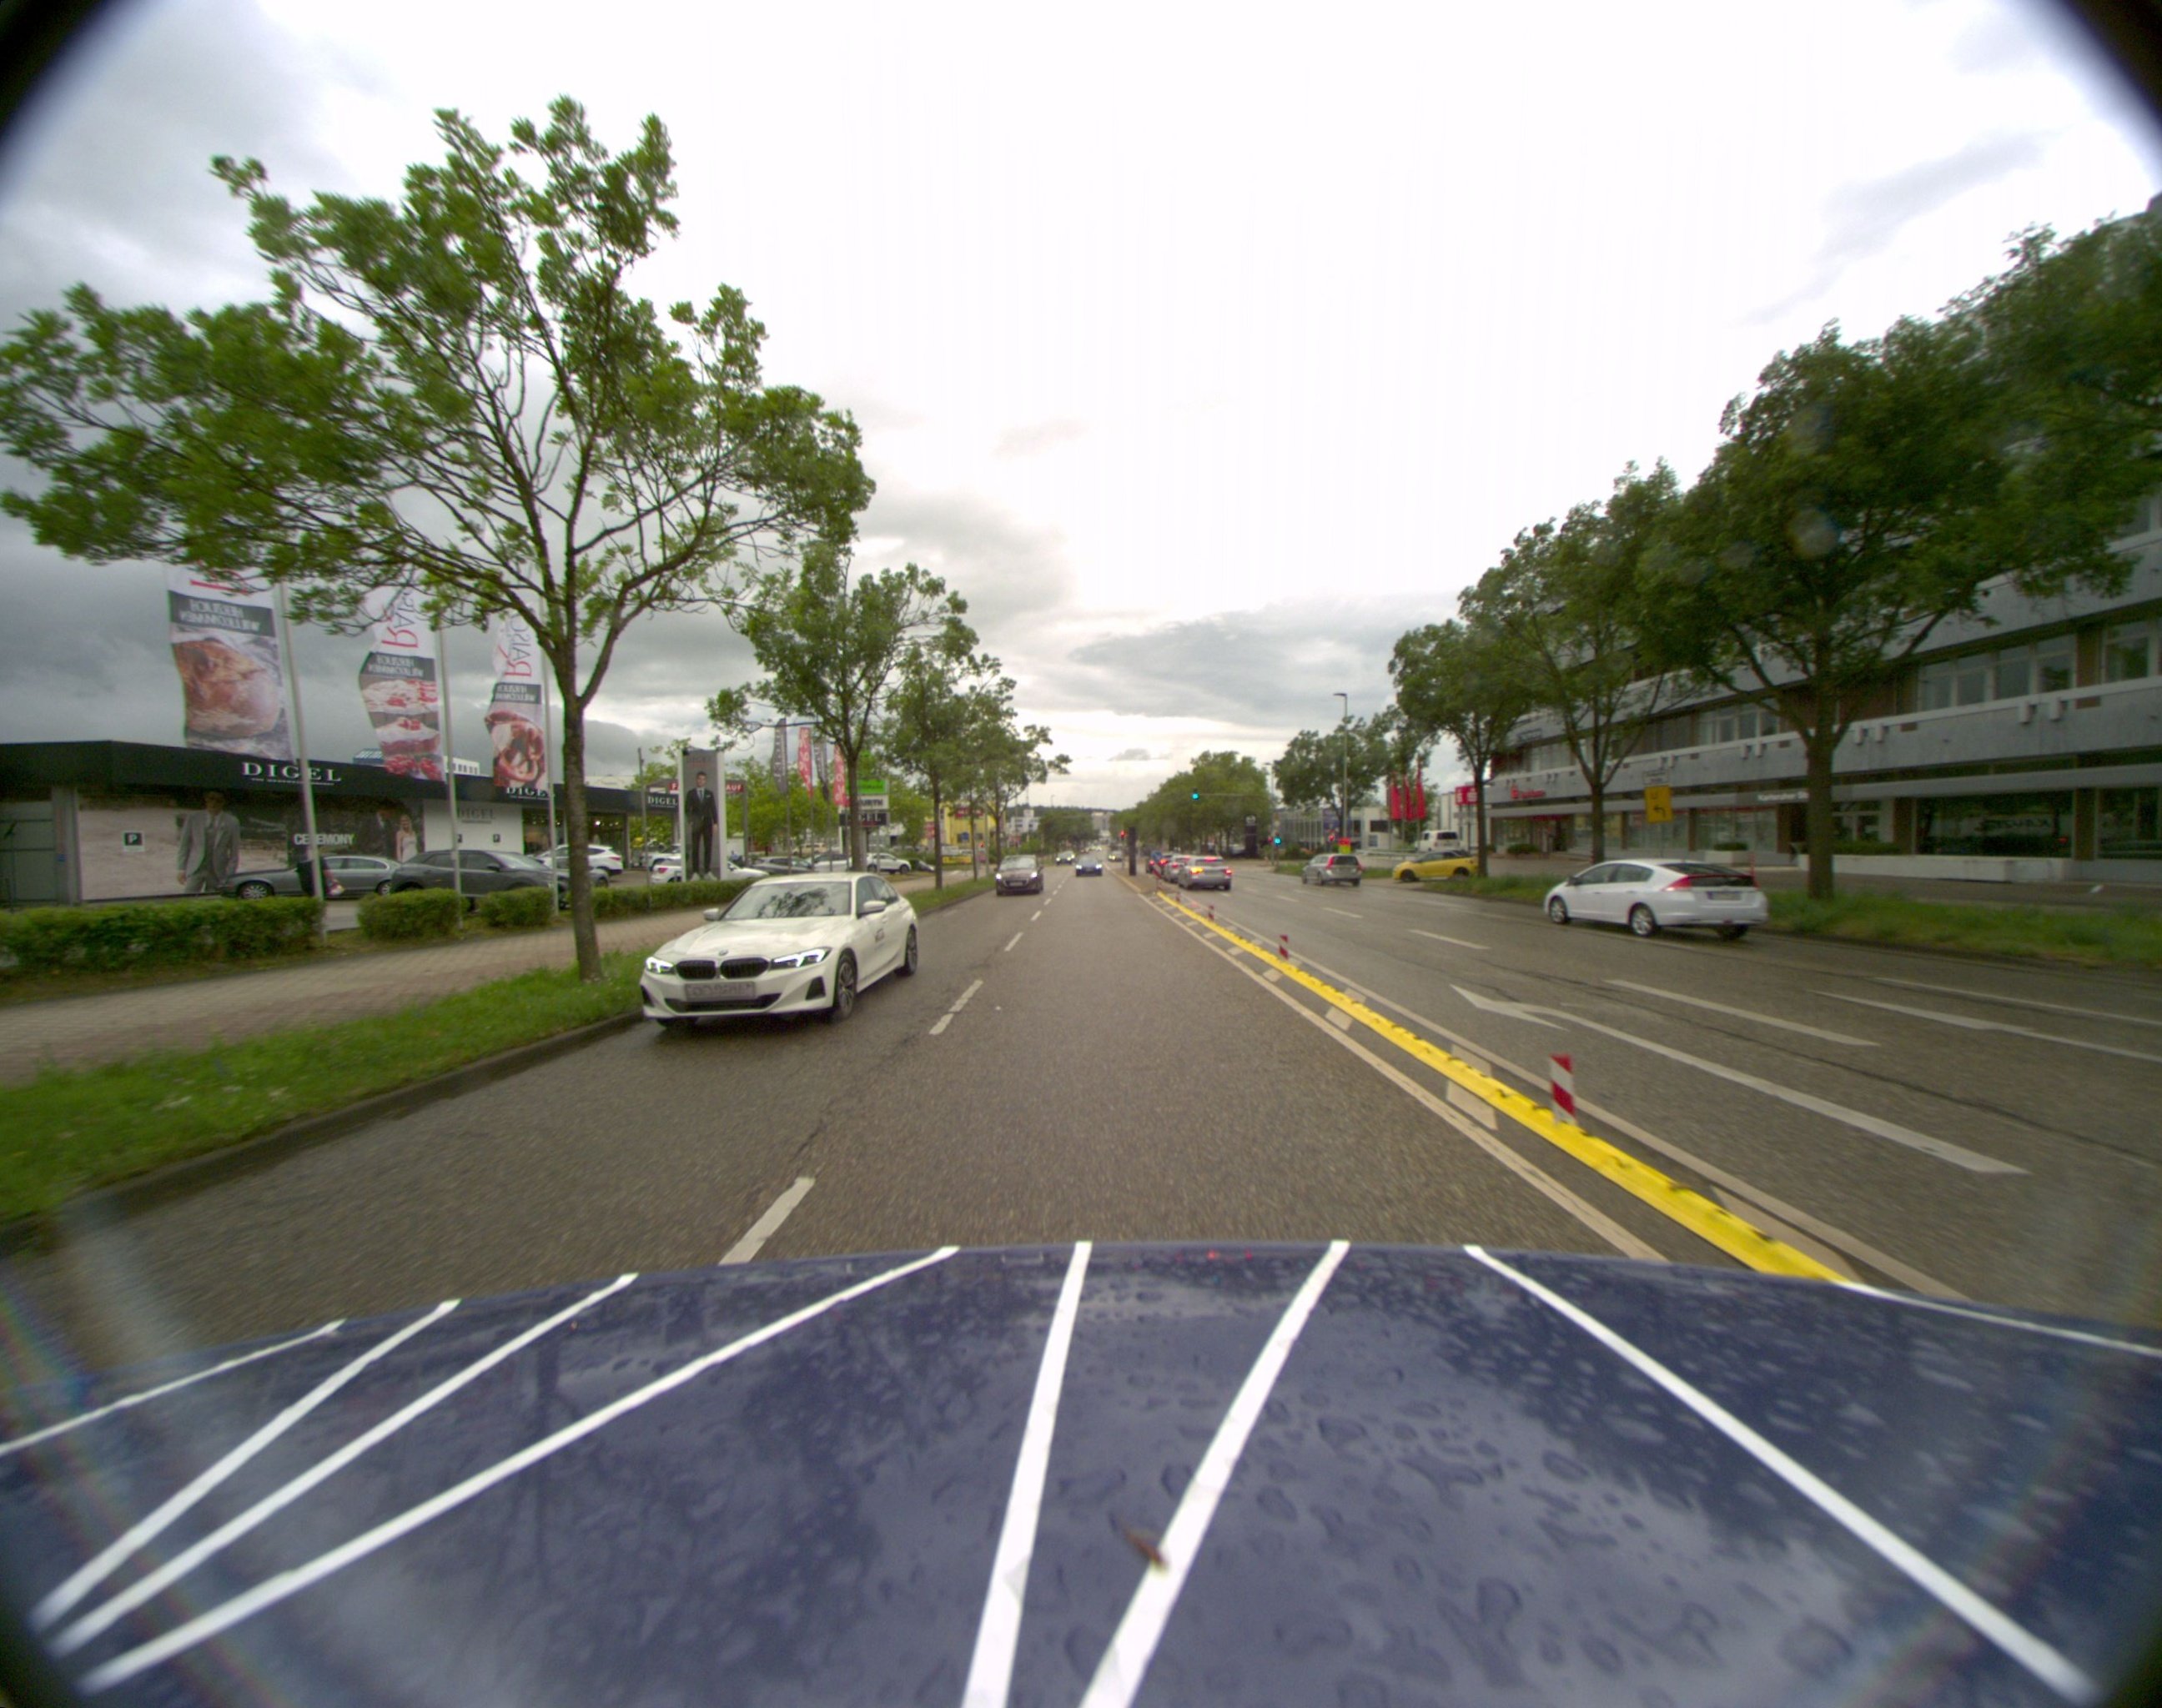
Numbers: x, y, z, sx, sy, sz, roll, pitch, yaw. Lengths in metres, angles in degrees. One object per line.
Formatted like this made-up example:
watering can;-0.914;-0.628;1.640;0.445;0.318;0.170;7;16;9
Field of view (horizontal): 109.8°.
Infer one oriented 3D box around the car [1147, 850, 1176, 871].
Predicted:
car;5.873;0.467;55.936;1.753;1.501;4.000;0;0;1

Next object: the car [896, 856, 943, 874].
car;-15.076;1.018;71.191;3.998;1.502;1.742;-2;3;-4

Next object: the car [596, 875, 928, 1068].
car;-3.195;1.073;8.795;1.808;1.432;4.541;-3;0;1

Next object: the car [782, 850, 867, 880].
car;-14.464;0.623;42.996;4.186;1.570;1.738;1;1;-37

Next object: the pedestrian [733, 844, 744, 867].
pedestrian;-25.294;0.140;56.078;0.471;1.671;0.569;-1;1;14

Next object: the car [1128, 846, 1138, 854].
car;10.078;-0.747;147.502;1.753;1.501;4.000;0;0;1

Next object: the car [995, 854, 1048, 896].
car;-2.459;0.849;32.290;1.799;1.572;4.218;-3;0;1

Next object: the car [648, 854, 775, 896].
car;-14.307;0.808;29.473;4.191;1.464;1.785;1;1;-35

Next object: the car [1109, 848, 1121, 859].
car;5.072;-0.076;114.025;1.753;1.501;4.000;0;0;1

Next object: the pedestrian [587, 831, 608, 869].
pedestrian;-26.324;-0.211;41.365;0.613;2.002;0.657;-3;1;2

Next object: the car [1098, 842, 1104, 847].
car;6.371;-3.039;239.618;1.753;1.501;4.000;0;0;2

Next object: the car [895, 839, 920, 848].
car;-30.671;-1.899;134.308;3.996;1.501;1.800;0;0;1

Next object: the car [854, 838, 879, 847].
car;-40.402;-2.165;143.378;4.221;1.572;1.823;0;1;1

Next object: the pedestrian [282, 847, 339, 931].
pedestrian;-17.029;0.755;16.811;0.634;1.779;0.849;-4;2;-35

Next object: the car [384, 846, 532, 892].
car;-22.494;0.522;27.548;4.051;1.470;1.794;1;2;-42

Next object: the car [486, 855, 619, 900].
car;-18.786;0.787;27.263;1.765;1.437;4.123;2;0;2

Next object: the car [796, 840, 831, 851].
car;-43.910;-1.407;124.815;5.092;1.787;2.035;0;1;1

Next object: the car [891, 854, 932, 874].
car;-13.866;0.795;62.049;1.747;1.570;3.864;0;-1;-39

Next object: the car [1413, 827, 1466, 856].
car;26.555;-0.941;56.425;1.998;2.002;4.887;-3;1;6

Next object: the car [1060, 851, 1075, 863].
car;-1.712;0.319;95.380;1.753;1.501;4.000;0;0;1

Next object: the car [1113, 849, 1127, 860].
car;5.259;0.017;102.263;1.753;1.501;4.000;0;0;1

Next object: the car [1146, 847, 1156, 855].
car;13.836;-0.593;150.818;1.753;1.566;4.000;0;0;1

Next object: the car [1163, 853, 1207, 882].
car;5.337;0.640;39.242;1.745;1.398;4.000;0;0;0

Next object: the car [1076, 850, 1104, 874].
car;0.610;0.549;54.518;1.799;1.572;4.217;-3;0;-1

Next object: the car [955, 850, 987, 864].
car;-14.269;0.347;98.756;4.001;1.802;1.766;0;1;-10

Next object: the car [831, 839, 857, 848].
car;-42.626;-1.957;136.696;4.221;1.572;1.823;0;1;1

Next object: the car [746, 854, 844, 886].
car;-13.762;0.771;36.643;4.028;1.429;1.738;1;1;-42

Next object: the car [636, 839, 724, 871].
car;-23.151;0.064;43.948;4.125;1.736;1.794;1;2;-43

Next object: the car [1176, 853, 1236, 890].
car;5.197;0.689;32.169;1.788;1.398;4.616;0;0;0

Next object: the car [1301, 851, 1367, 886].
car;12.118;0.628;36.720;1.745;1.544;4.782;0;1;2

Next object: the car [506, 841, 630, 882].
car;-23.058;0.348;34.211;4.507;1.672;1.794;1;2;-37

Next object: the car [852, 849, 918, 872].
car;-14.137;0.457;54.878;4.324;1.570;1.738;1;1;-45

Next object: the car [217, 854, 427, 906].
car;-23.409;0.766;23.728;4.508;1.388;1.794;1;2;-40

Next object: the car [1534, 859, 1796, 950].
car;10.948;0.842;14.762;1.745;1.398;4.469;0;1;2

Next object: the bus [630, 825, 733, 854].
bus;-52.668;-1.797;101.287;4.101;3.493;17.334;0;0;2

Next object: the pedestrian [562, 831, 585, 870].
pedestrian;-26.332;-0.184;39.439;0.613;2.002;0.657;-3;1;2

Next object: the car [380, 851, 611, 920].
car;-14.155;0.728;18.536;4.179;1.464;1.862;2;1;1

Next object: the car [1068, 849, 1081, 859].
car;-0.959;0.029;113.700;1.753;1.501;4.000;0;0;1

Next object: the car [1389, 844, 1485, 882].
car;16.556;0.426;35.421;3.702;1.500;1.624;-4;2;37

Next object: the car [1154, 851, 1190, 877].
car;5.449;0.558;46.031;1.753;1.516;4.000;0;0;1

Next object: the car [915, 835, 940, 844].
car;-28.560;-2.763;141.418;4.221;1.572;1.823;0;1;1
